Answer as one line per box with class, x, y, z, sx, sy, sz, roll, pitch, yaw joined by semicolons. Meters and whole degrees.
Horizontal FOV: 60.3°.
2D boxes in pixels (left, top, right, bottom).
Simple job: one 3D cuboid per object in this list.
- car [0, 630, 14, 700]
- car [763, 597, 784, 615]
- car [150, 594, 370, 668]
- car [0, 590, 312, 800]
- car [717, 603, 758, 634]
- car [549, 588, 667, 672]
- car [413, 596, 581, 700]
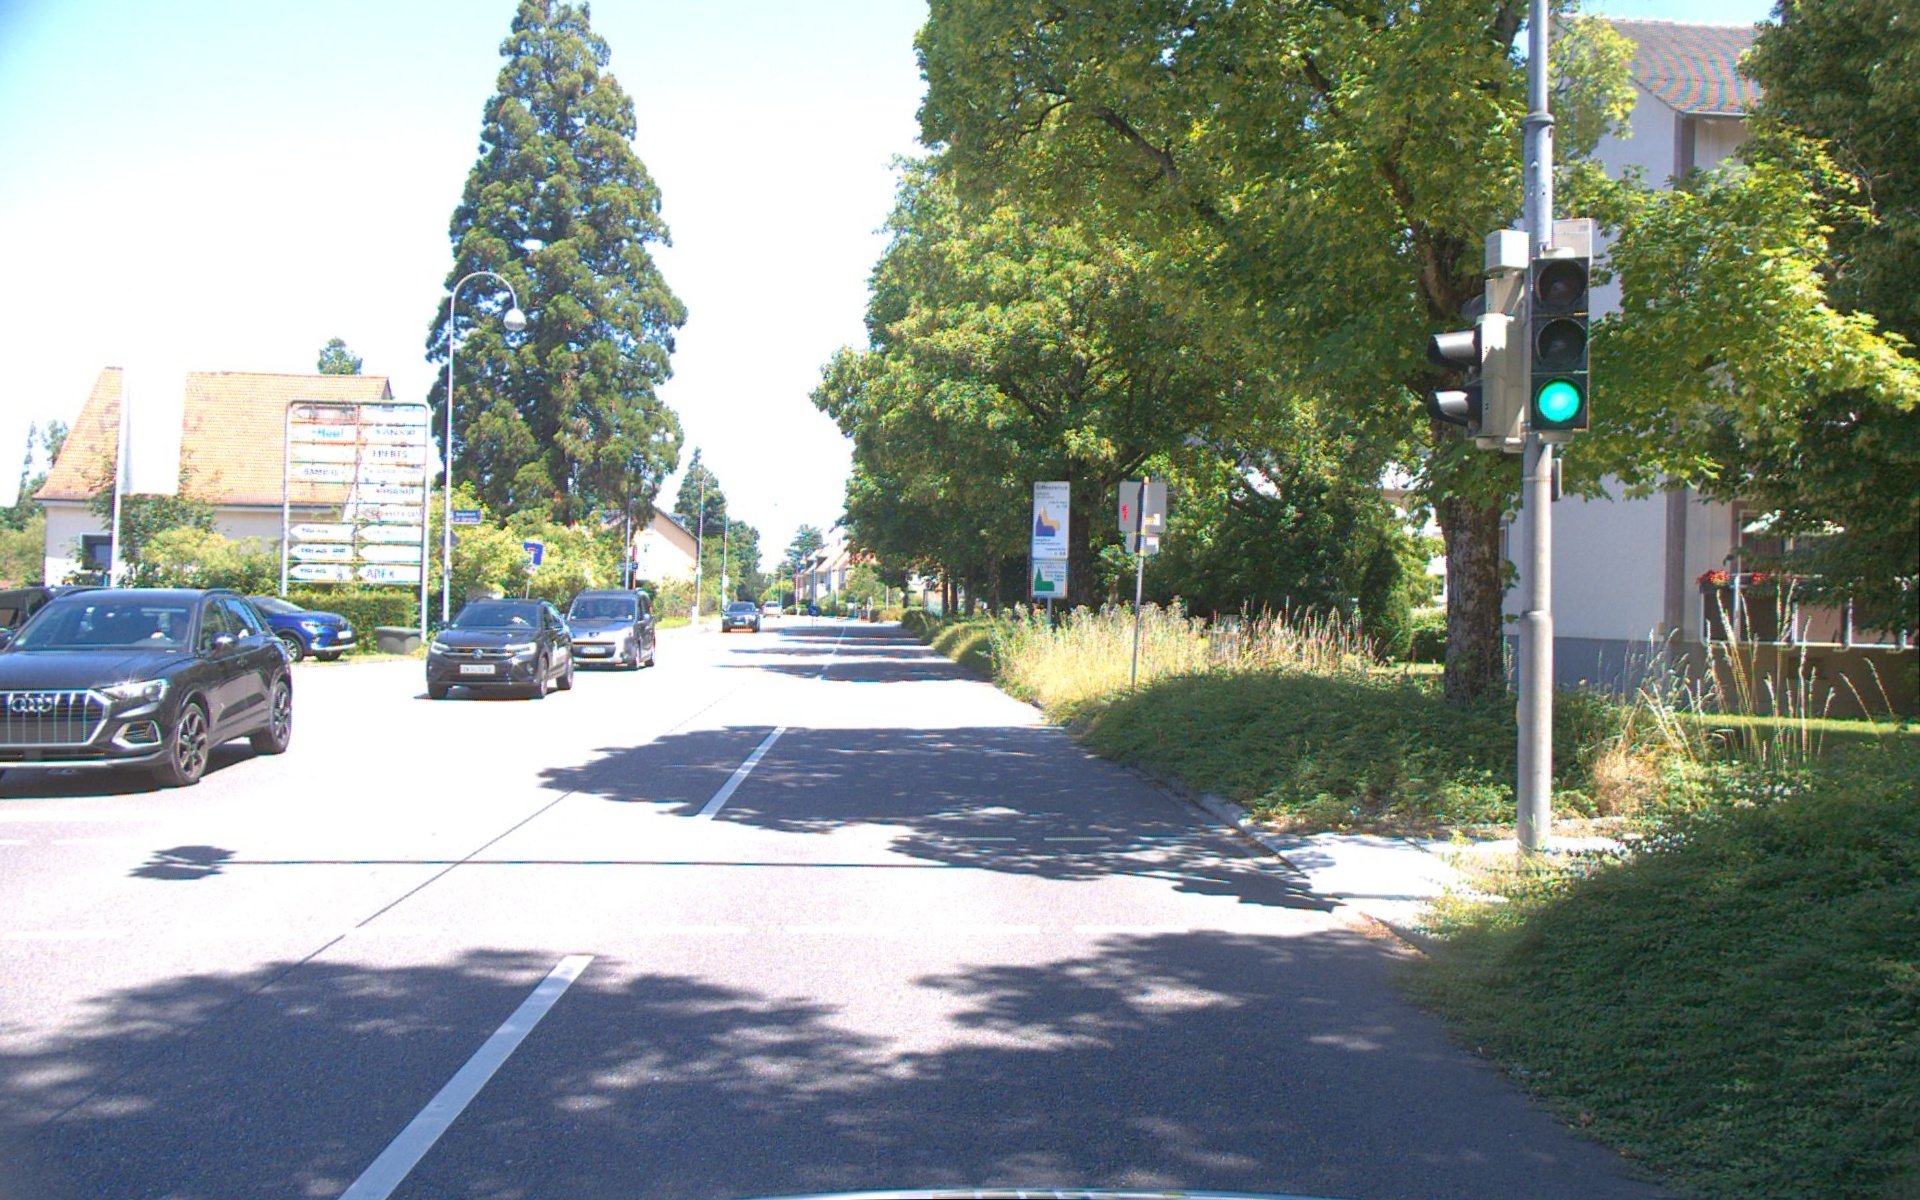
car;-24.742;1.625;40.049;1.775;1.752;4.081;1;0;-8
car;-19.186;0.595;170.323;1.875;1.718;4.122;3;0;-4
car;-15.170;0.650;35.917;4.047;1.531;1.779;0;0;8
car;-7.271;0.719;14.605;1.890;1.582;4.295;0;0;-8
car;-11.634;0.969;86.729;1.758;1.563;4.312;1;0;-3
car;-7.901;0.648;37.531;1.774;1.793;4.568;0;0;-1
car;-7.296;0.718;26.428;1.832;1.533;4.048;0;0;-5
